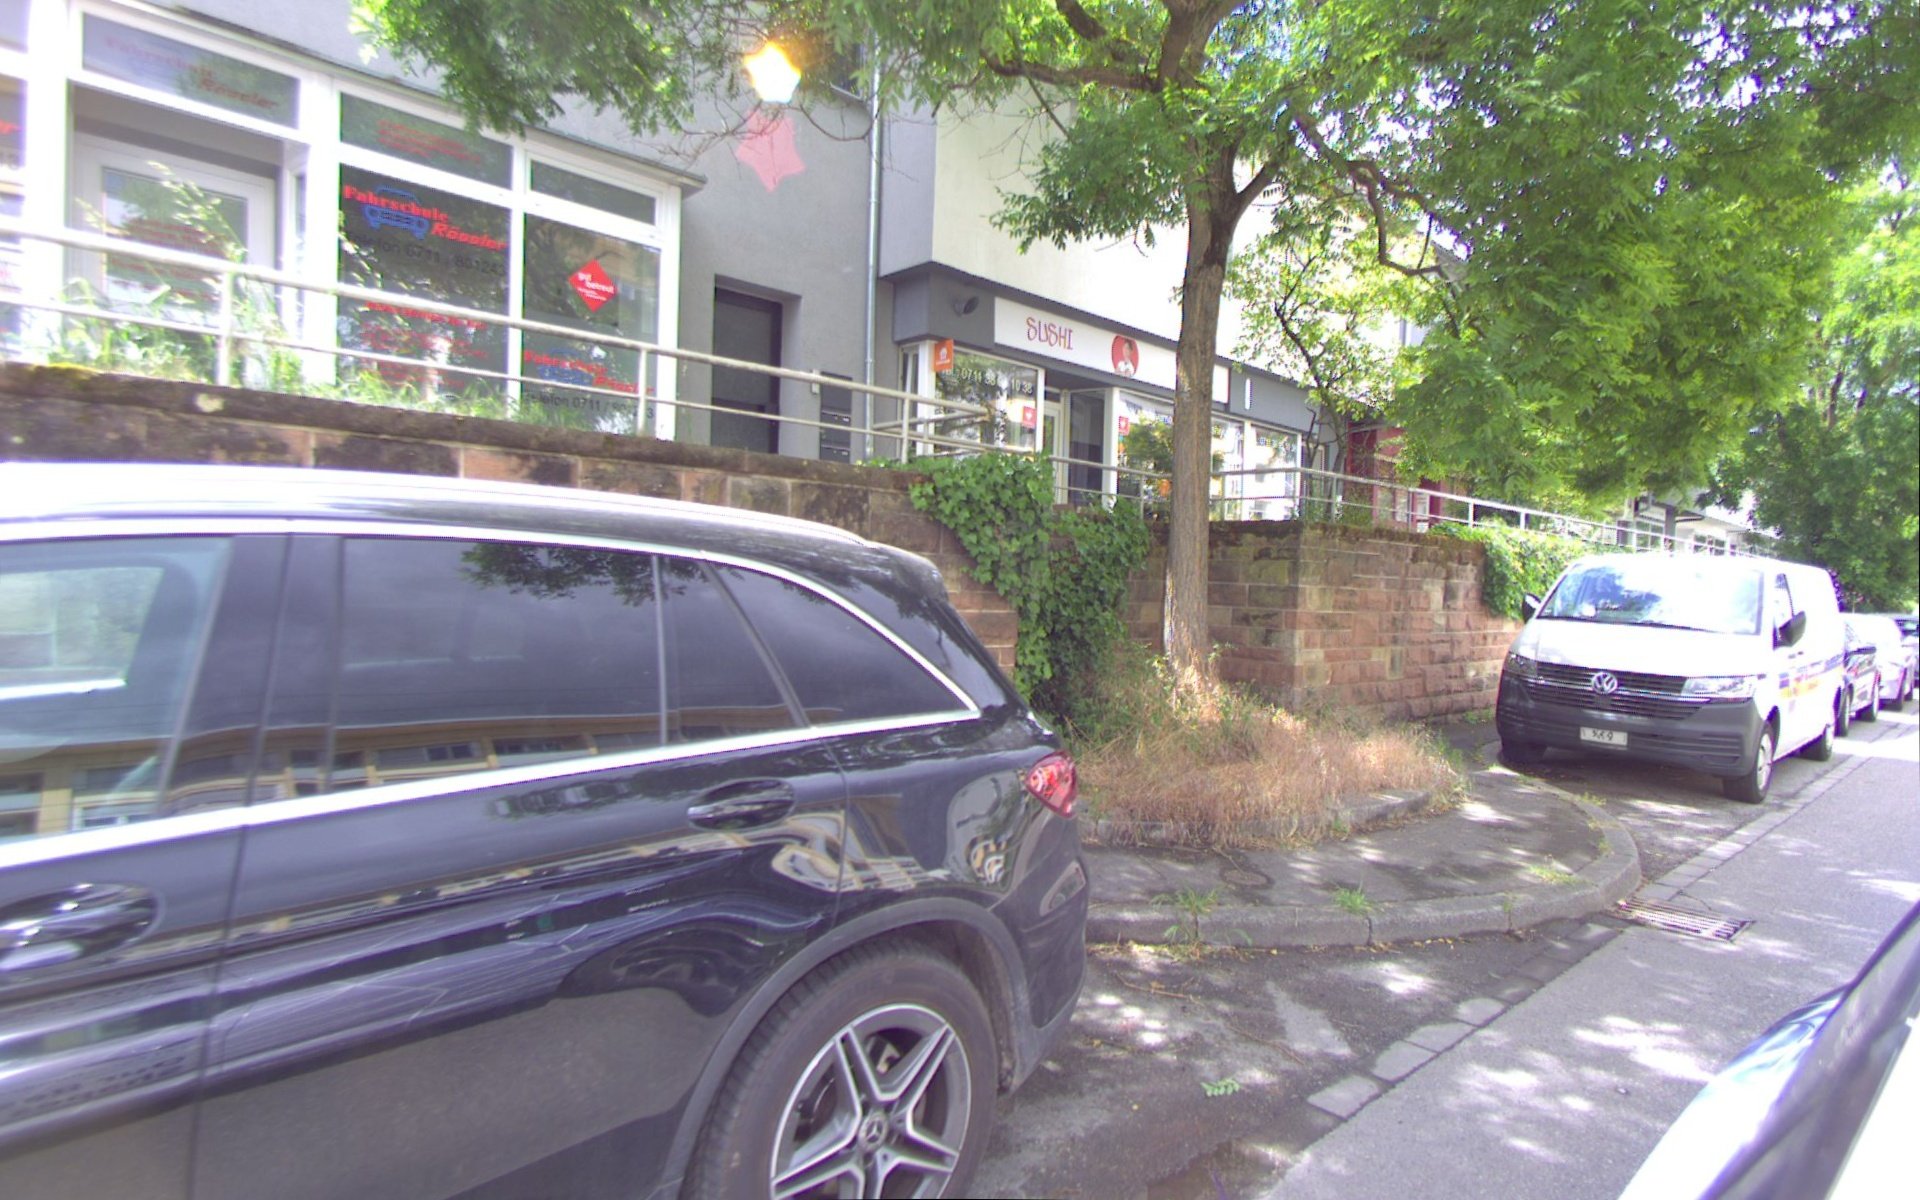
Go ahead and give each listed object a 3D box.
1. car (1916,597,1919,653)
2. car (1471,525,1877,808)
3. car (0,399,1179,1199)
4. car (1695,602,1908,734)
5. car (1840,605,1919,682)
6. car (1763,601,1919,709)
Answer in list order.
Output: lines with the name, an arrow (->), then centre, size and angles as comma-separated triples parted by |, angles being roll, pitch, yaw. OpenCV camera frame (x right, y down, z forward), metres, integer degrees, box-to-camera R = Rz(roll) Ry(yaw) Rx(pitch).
car -> 31.157, 0.793, 31.479 | 4.078, 1.674, 1.816 | 0, 1, -43
car -> 6.885, 0.454, 9.513 | 4.925, 1.994, 1.977 | 0, 1, -41
car -> -1.704, 0.539, 1.774 | 4.370, 1.637, 1.793 | 0, 3, -42
car -> 11.145, 0.785, 13.325 | 3.669, 1.446, 1.577 | 0, 1, -41
car -> 20.033, 0.869, 21.255 | 4.075, 1.446, 1.783 | 1, 1, -41
car -> 14.848, 0.808, 16.782 | 4.076, 1.445, 1.783 | 0, 4, -44
